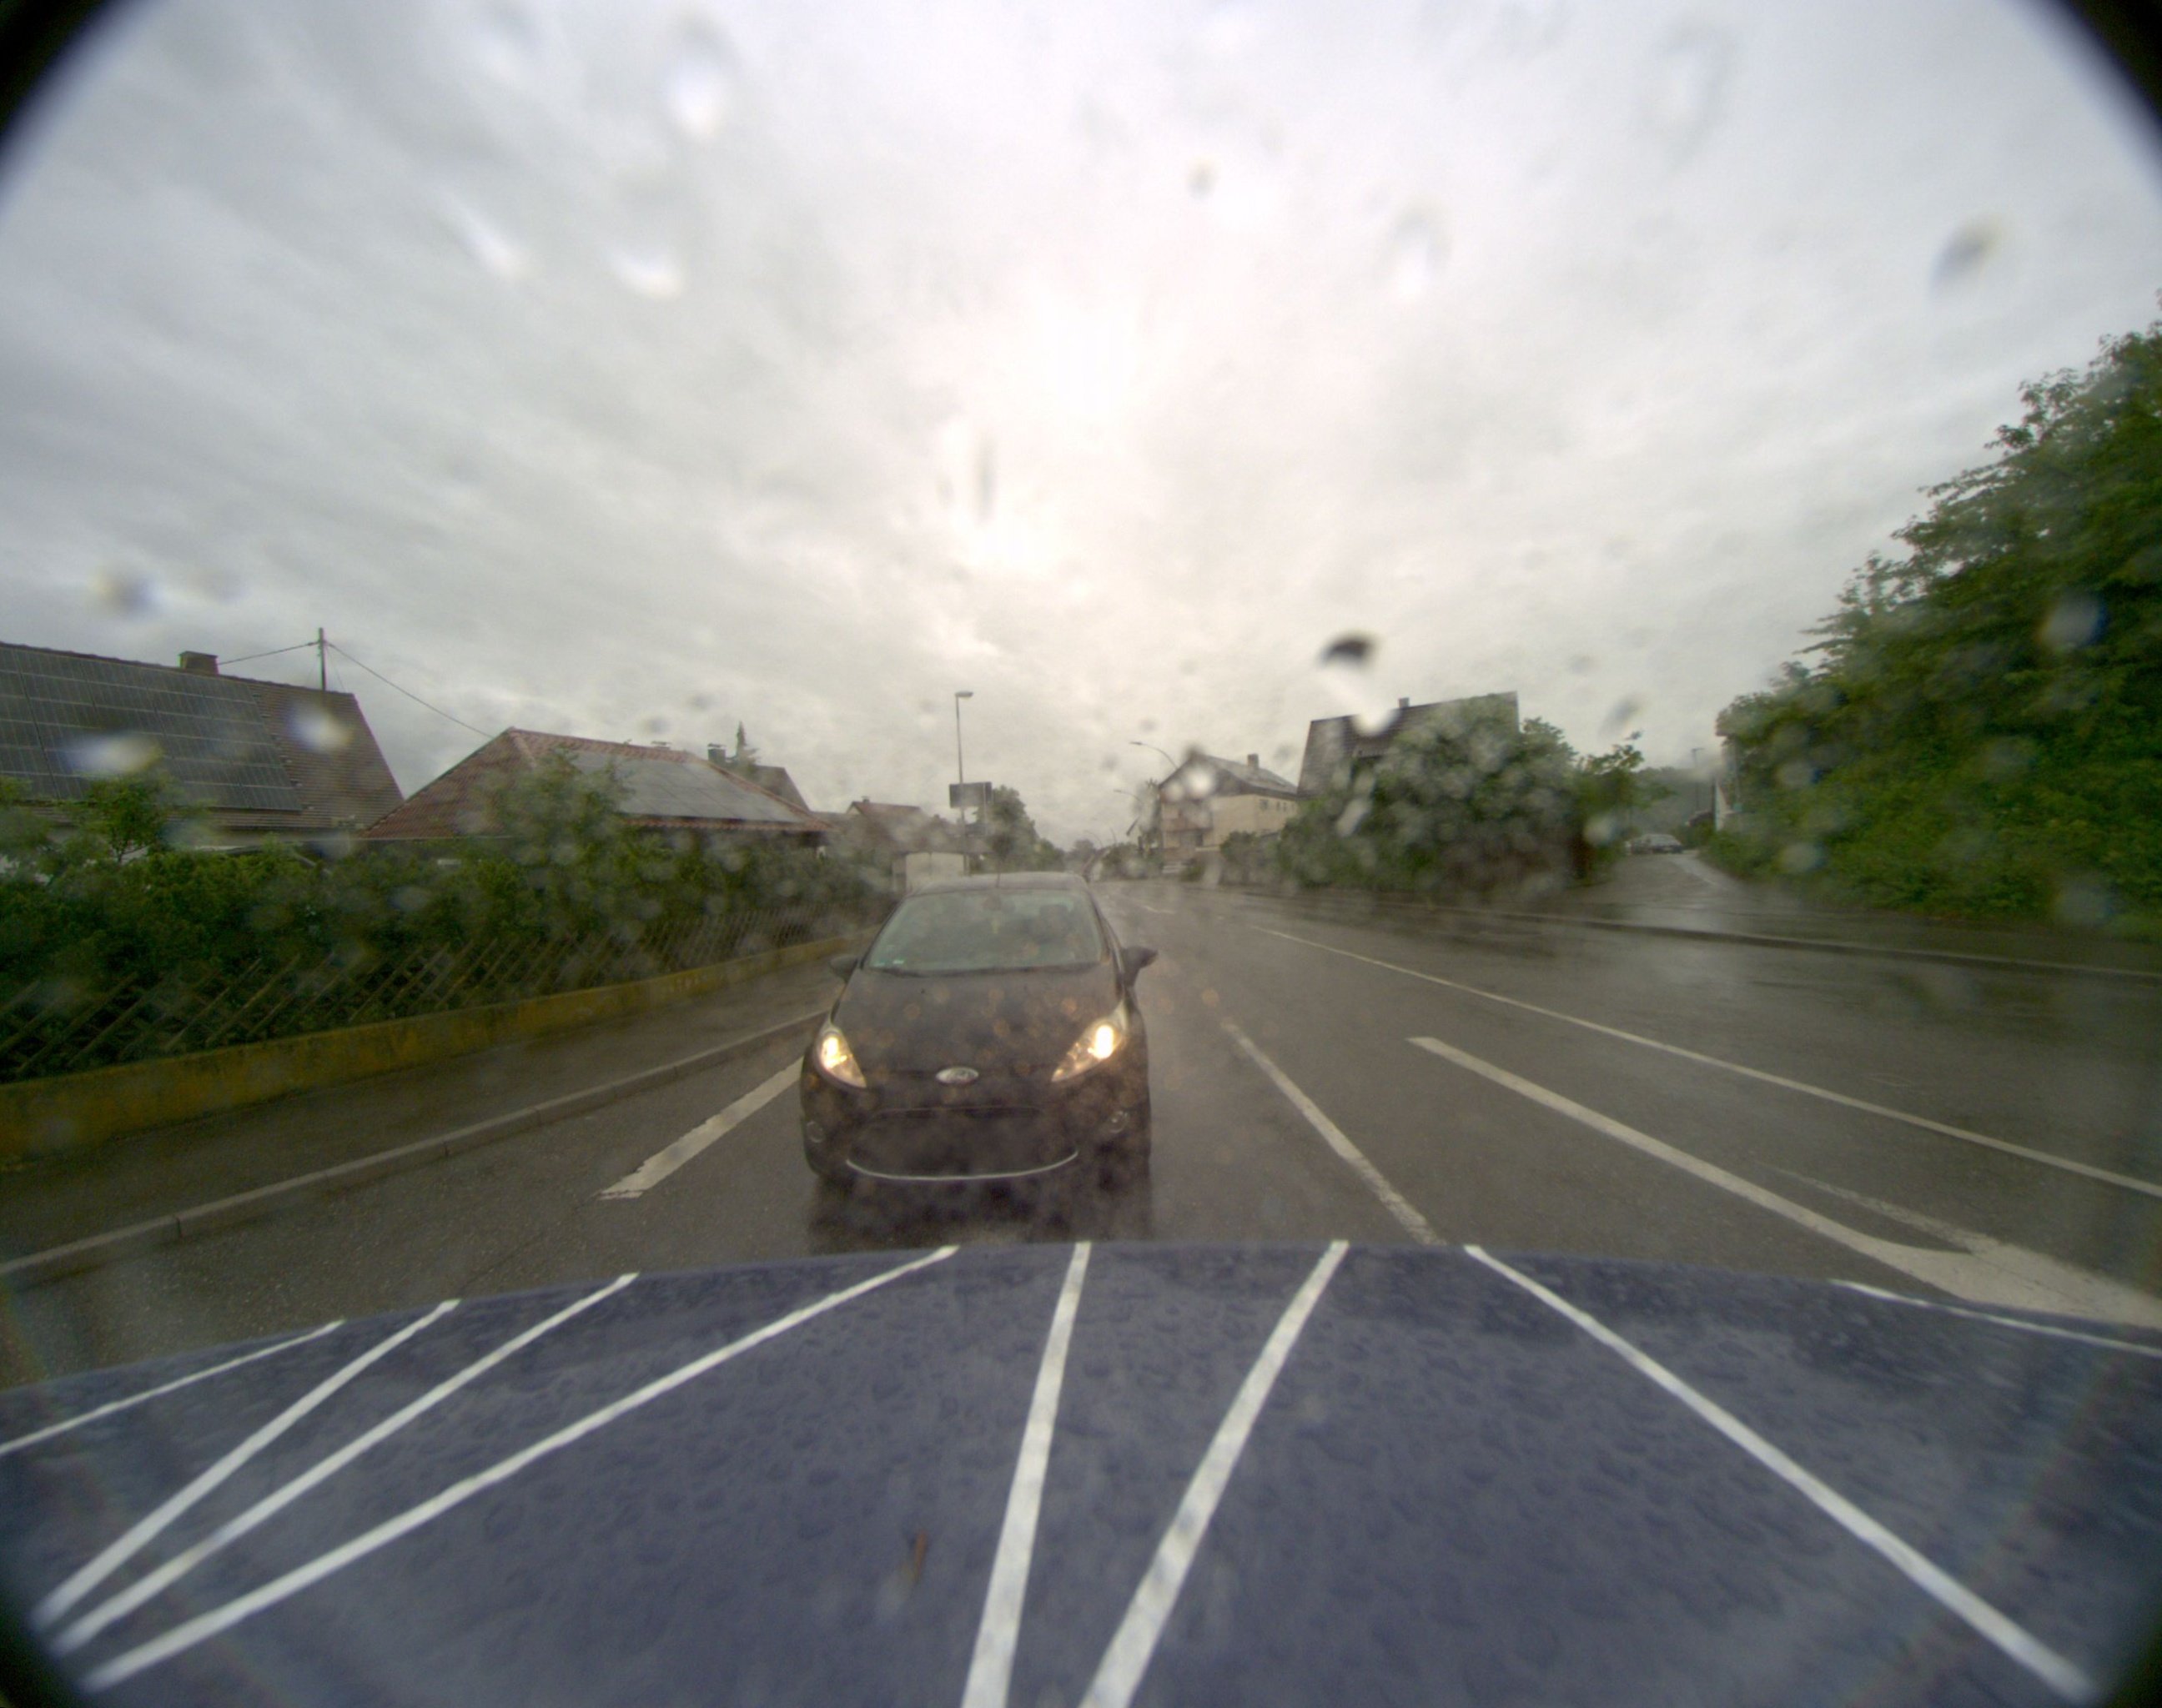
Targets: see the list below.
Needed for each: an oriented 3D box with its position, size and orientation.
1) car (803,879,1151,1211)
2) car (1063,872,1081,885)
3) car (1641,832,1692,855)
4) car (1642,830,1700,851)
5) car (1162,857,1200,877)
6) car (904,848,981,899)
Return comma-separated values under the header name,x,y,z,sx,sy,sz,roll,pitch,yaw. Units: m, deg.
name,x,y,z,sx,sy,sz,roll,pitch,yaw
car,-0.560,1.013,5.741,1.666,1.410,3.931,-2,1,-1
car,-1.084,2.888,90.011,1.899,1.474,3.999,-2,0,-3
car,40.758,-0.743,52.955,1.895,1.474,4.007,-2,0,24
car,45.725,-1.009,58.984,1.997,1.477,4.004,-3,0,13
car,8.822,1.114,66.885,1.661,1.538,4.007,-2,1,34
car,-6.953,0.944,38.507,1.650,2.337,4.007,-2,0,27
